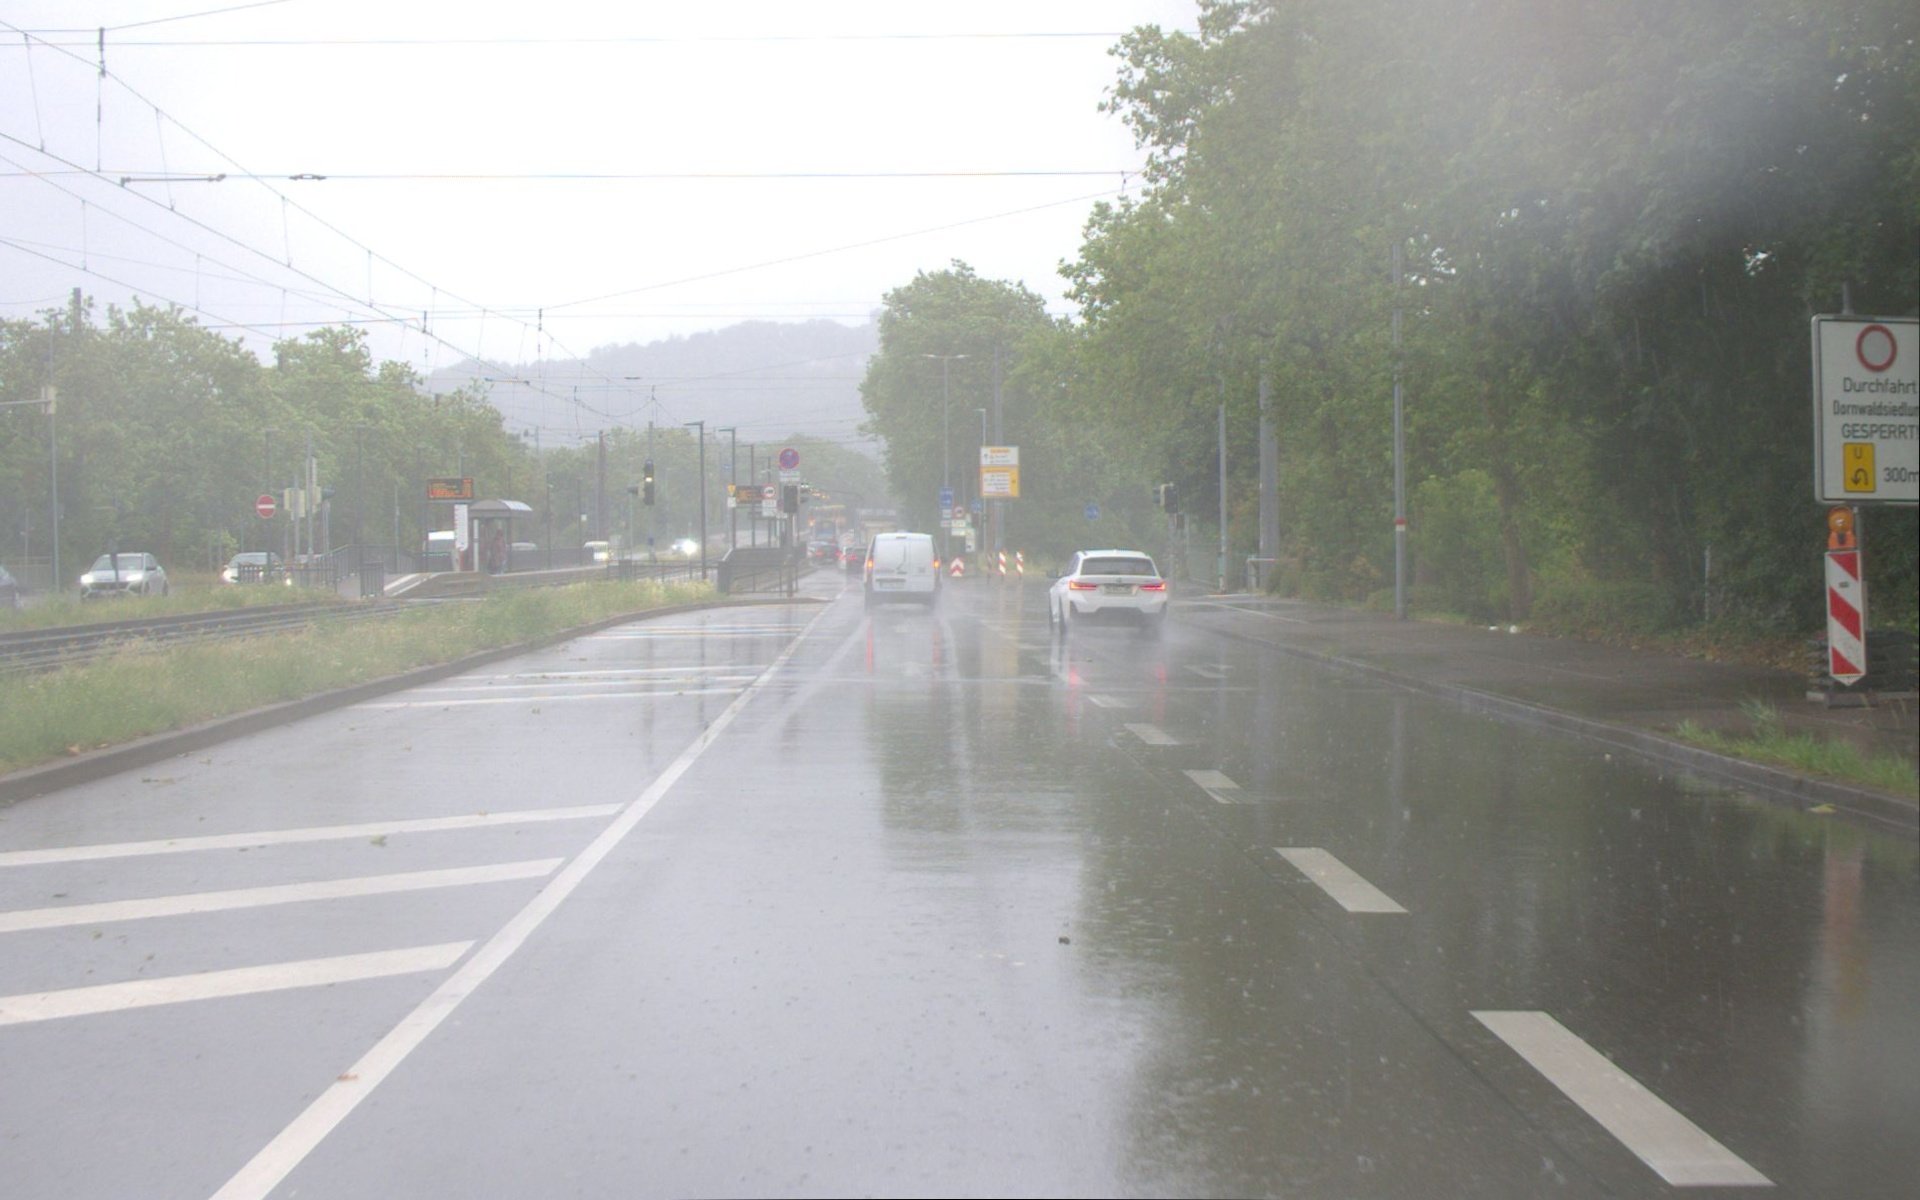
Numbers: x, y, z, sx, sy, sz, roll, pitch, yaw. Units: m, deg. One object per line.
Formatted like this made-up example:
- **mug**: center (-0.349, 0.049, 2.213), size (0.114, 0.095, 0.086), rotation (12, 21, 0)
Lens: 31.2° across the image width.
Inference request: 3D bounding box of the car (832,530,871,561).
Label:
- **car**: center (-5.607, -2.840, 178.112), size (1.993, 1.542, 4.001), rotation (1, 1, -2)

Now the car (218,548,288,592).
- **car**: center (-24.529, -1.060, 119.381), size (1.720, 1.489, 4.000), rotation (-1, 1, -2)

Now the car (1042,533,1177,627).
- **car**: center (2.483, -0.363, 58.015), size (1.948, 1.531, 4.467), rotation (0, 1, -2)

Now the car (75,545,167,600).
- **car**: center (-23.719, -0.800, 97.299), size (1.720, 1.489, 4.000), rotation (-1, 1, -2)

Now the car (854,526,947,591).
- **car**: center (-1.361, -0.976, 79.149), size (2.077, 1.415, 4.000), rotation (-1, 1, -1)
